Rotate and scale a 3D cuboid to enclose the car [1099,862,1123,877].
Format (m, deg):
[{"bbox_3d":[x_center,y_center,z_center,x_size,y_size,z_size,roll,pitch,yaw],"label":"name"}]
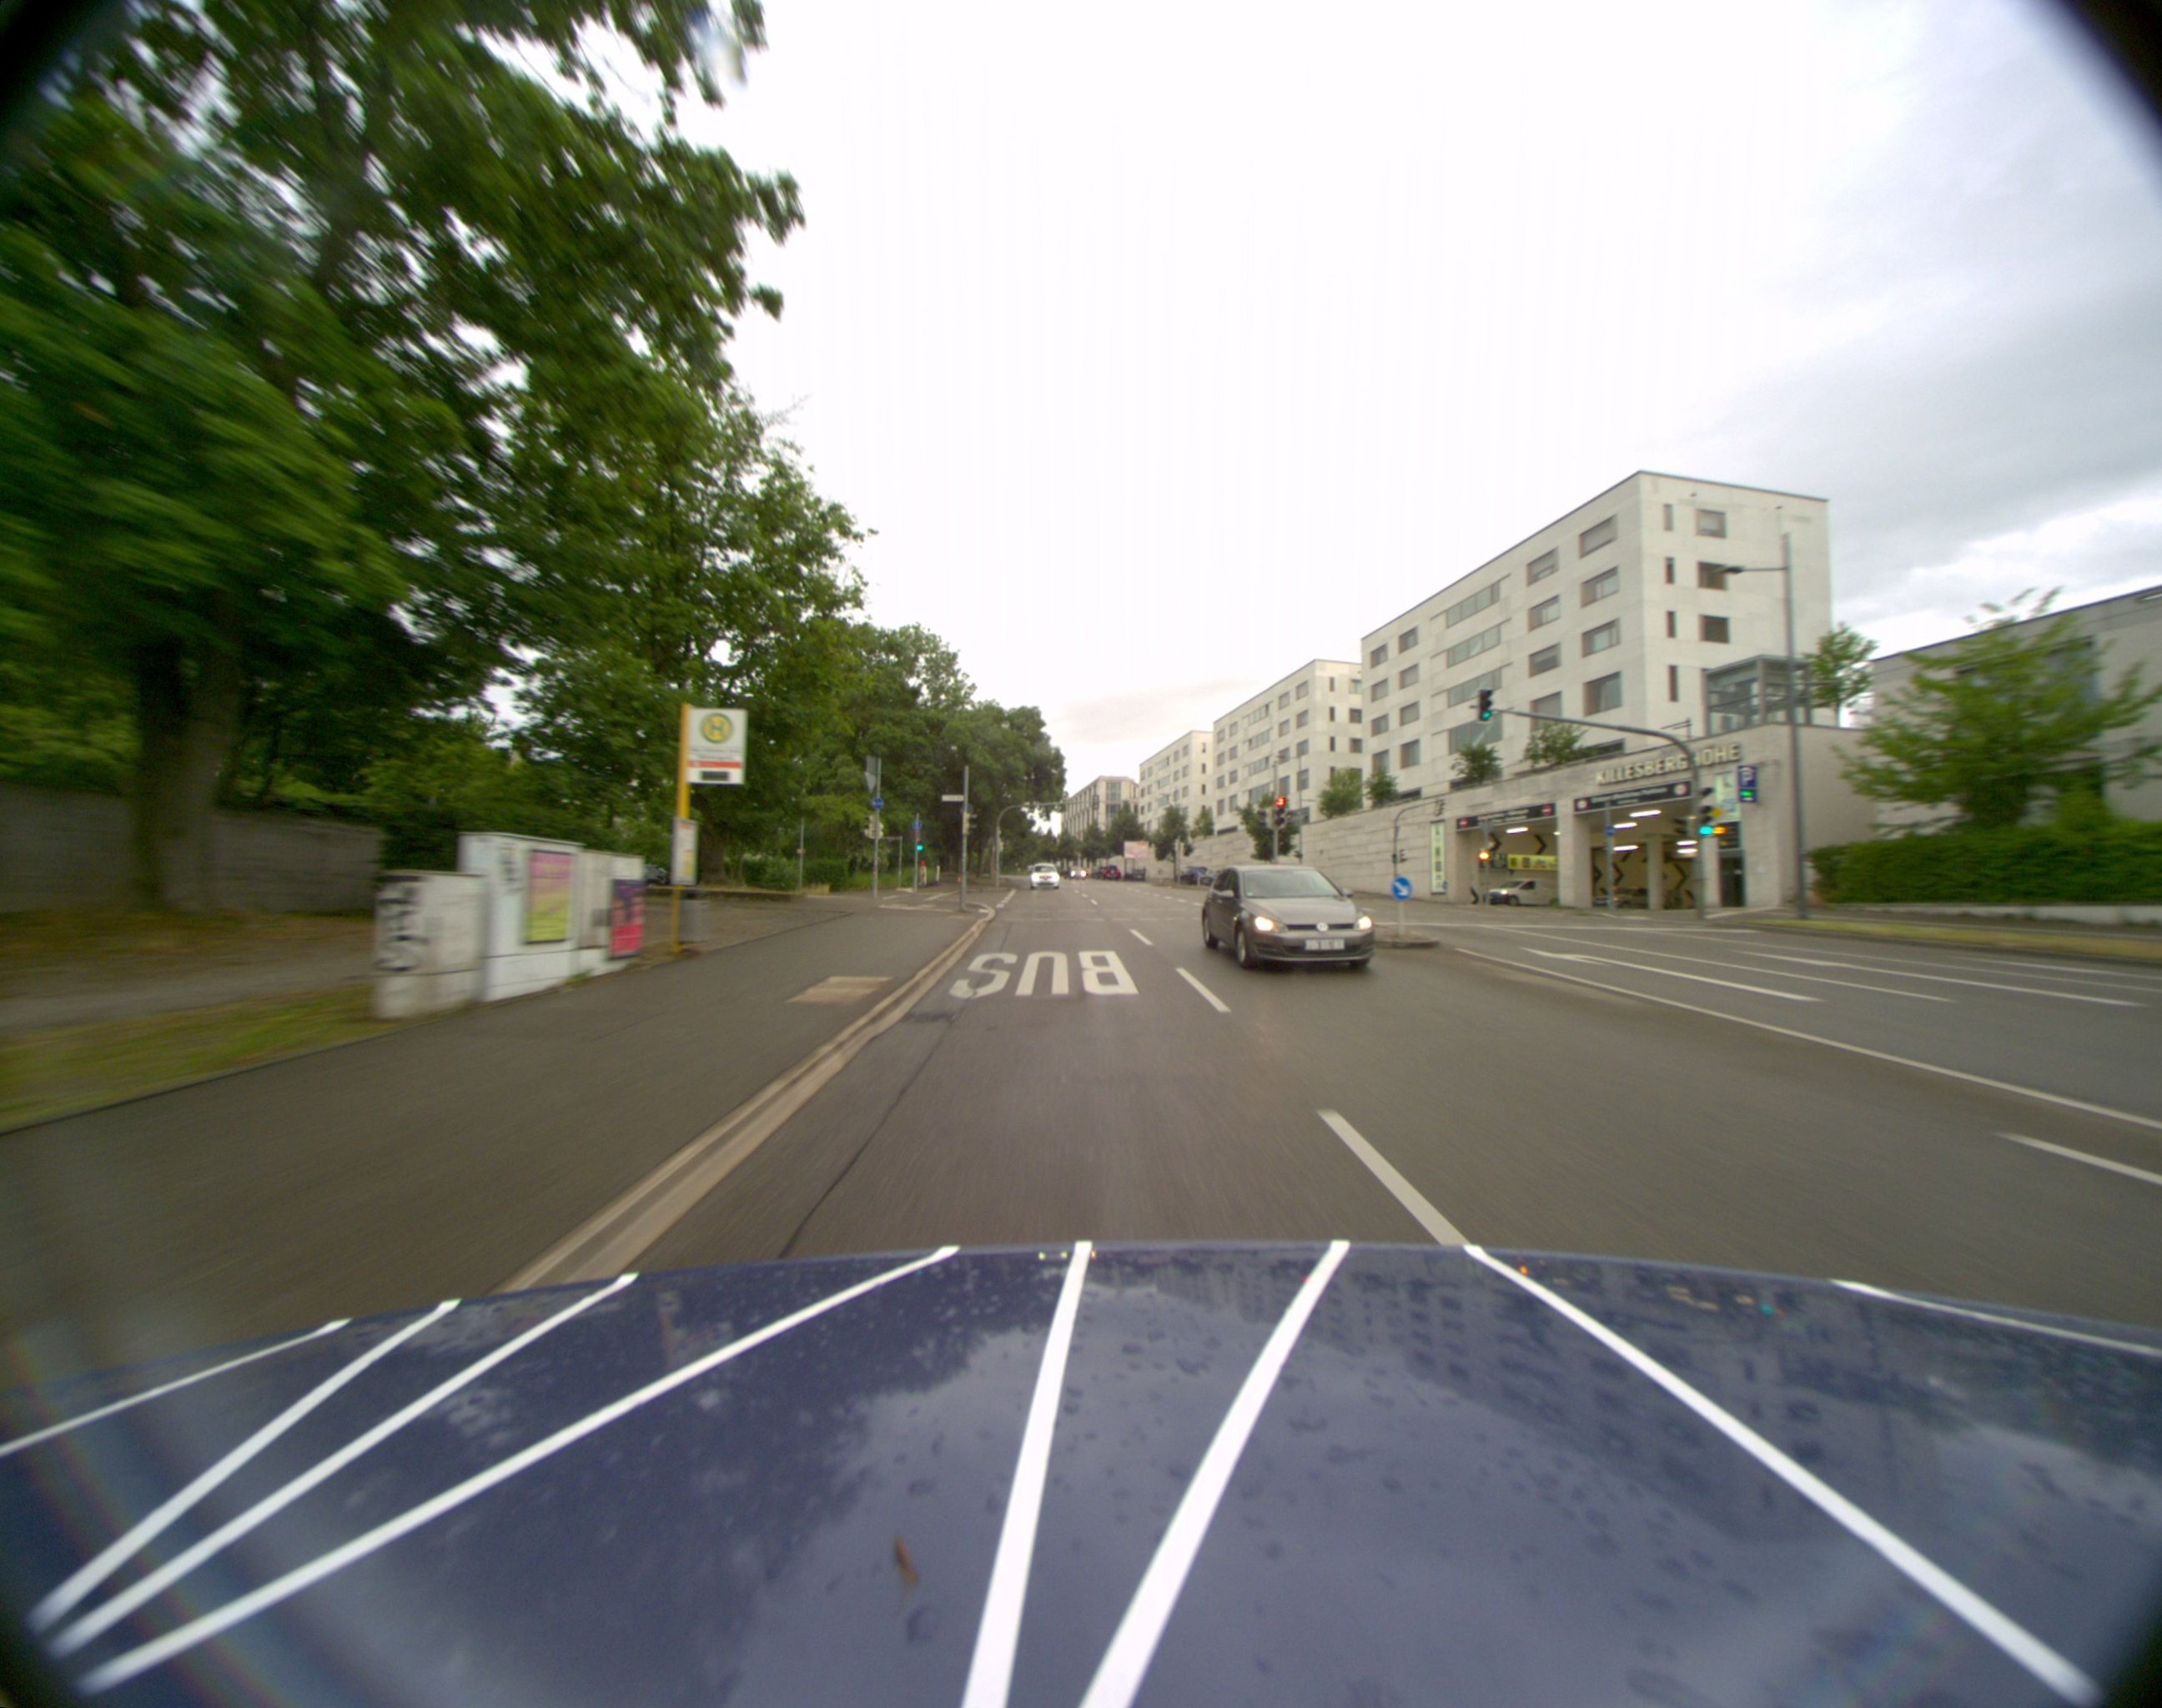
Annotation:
[{"bbox_3d":[3.638,1.850,92.606,1.966,1.828,4.445,1,-1,-10],"label":"car"}]

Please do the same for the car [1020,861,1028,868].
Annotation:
[{"bbox_3d":[-14.935,2.797,199.410,2.000,1.739,3.997,0,-1,-8],"label":"car"}]

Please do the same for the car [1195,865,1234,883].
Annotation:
[{"bbox_3d":[11.598,1.712,66.241,1.864,1.469,3.995,0,-1,-14],"label":"car"}]

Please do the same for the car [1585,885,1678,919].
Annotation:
[{"bbox_3d":[29.798,2.587,41.152,4.001,1.761,1.798,1,0,-11],"label":"car"}]

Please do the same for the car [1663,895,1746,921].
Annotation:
[{"bbox_3d":[37.944,3.291,46.278,4.202,1.435,1.607,1,0,-11],"label":"car"}]

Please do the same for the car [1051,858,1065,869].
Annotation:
[{"bbox_3d":[-4.369,1.878,143.628,1.926,2.001,4.383,0,-2,-11],"label":"car"}]

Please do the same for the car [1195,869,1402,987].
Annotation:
[{"bbox_3d":[3.019,0.958,11.566,1.876,1.432,4.296,0,-1,-1],"label":"car"}]

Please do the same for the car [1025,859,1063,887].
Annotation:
[{"bbox_3d":[-2.351,1.187,47.183,1.928,1.651,3.998,0,-2,-9],"label":"car"}]

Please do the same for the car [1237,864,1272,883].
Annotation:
[{"bbox_3d":[13.787,1.527,60.498,1.682,1.450,2.693,1,-1,-14],"label":"car"}]

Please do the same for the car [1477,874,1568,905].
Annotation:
[{"bbox_3d":[25.365,2.032,43.710,4.349,1.642,1.998,1,-1,-14],"label":"car"}]

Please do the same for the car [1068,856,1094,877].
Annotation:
[{"bbox_3d":[-0.030,1.306,77.518,1.926,2.001,4.383,0,-2,-11],"label":"car"}]

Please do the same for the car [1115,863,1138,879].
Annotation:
[{"bbox_3d":[6.011,2.300,100.908,1.926,2.001,4.383,0,-2,-11],"label":"car"}]

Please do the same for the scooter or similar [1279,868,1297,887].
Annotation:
[{"bbox_3d":[15.574,1.761,57.288,1.277,1.459,0.429,0,0,20],"label":"scooter or similar"}]

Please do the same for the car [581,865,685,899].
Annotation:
[{"bbox_3d":[-21.061,1.306,35.880,3.909,1.538,1.878,1,-1,-19],"label":"car"}]

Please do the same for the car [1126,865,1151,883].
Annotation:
[{"bbox_3d":[6.772,2.384,90.046,1.926,2.001,4.383,0,-2,-11],"label":"car"}]

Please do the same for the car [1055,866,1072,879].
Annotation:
[{"bbox_3d":[-2.880,2.965,121.701,2.001,2.001,3.996,1,-1,-12],"label":"car"}]

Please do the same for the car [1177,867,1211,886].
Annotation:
[{"bbox_3d":[10.478,2.074,70.778,1.791,1.622,3.995,1,-1,-14],"label":"car"}]

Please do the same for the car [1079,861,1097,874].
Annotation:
[{"bbox_3d":[1.066,2.117,120.217,1.926,2.001,4.383,0,-2,-11],"label":"car"}]
